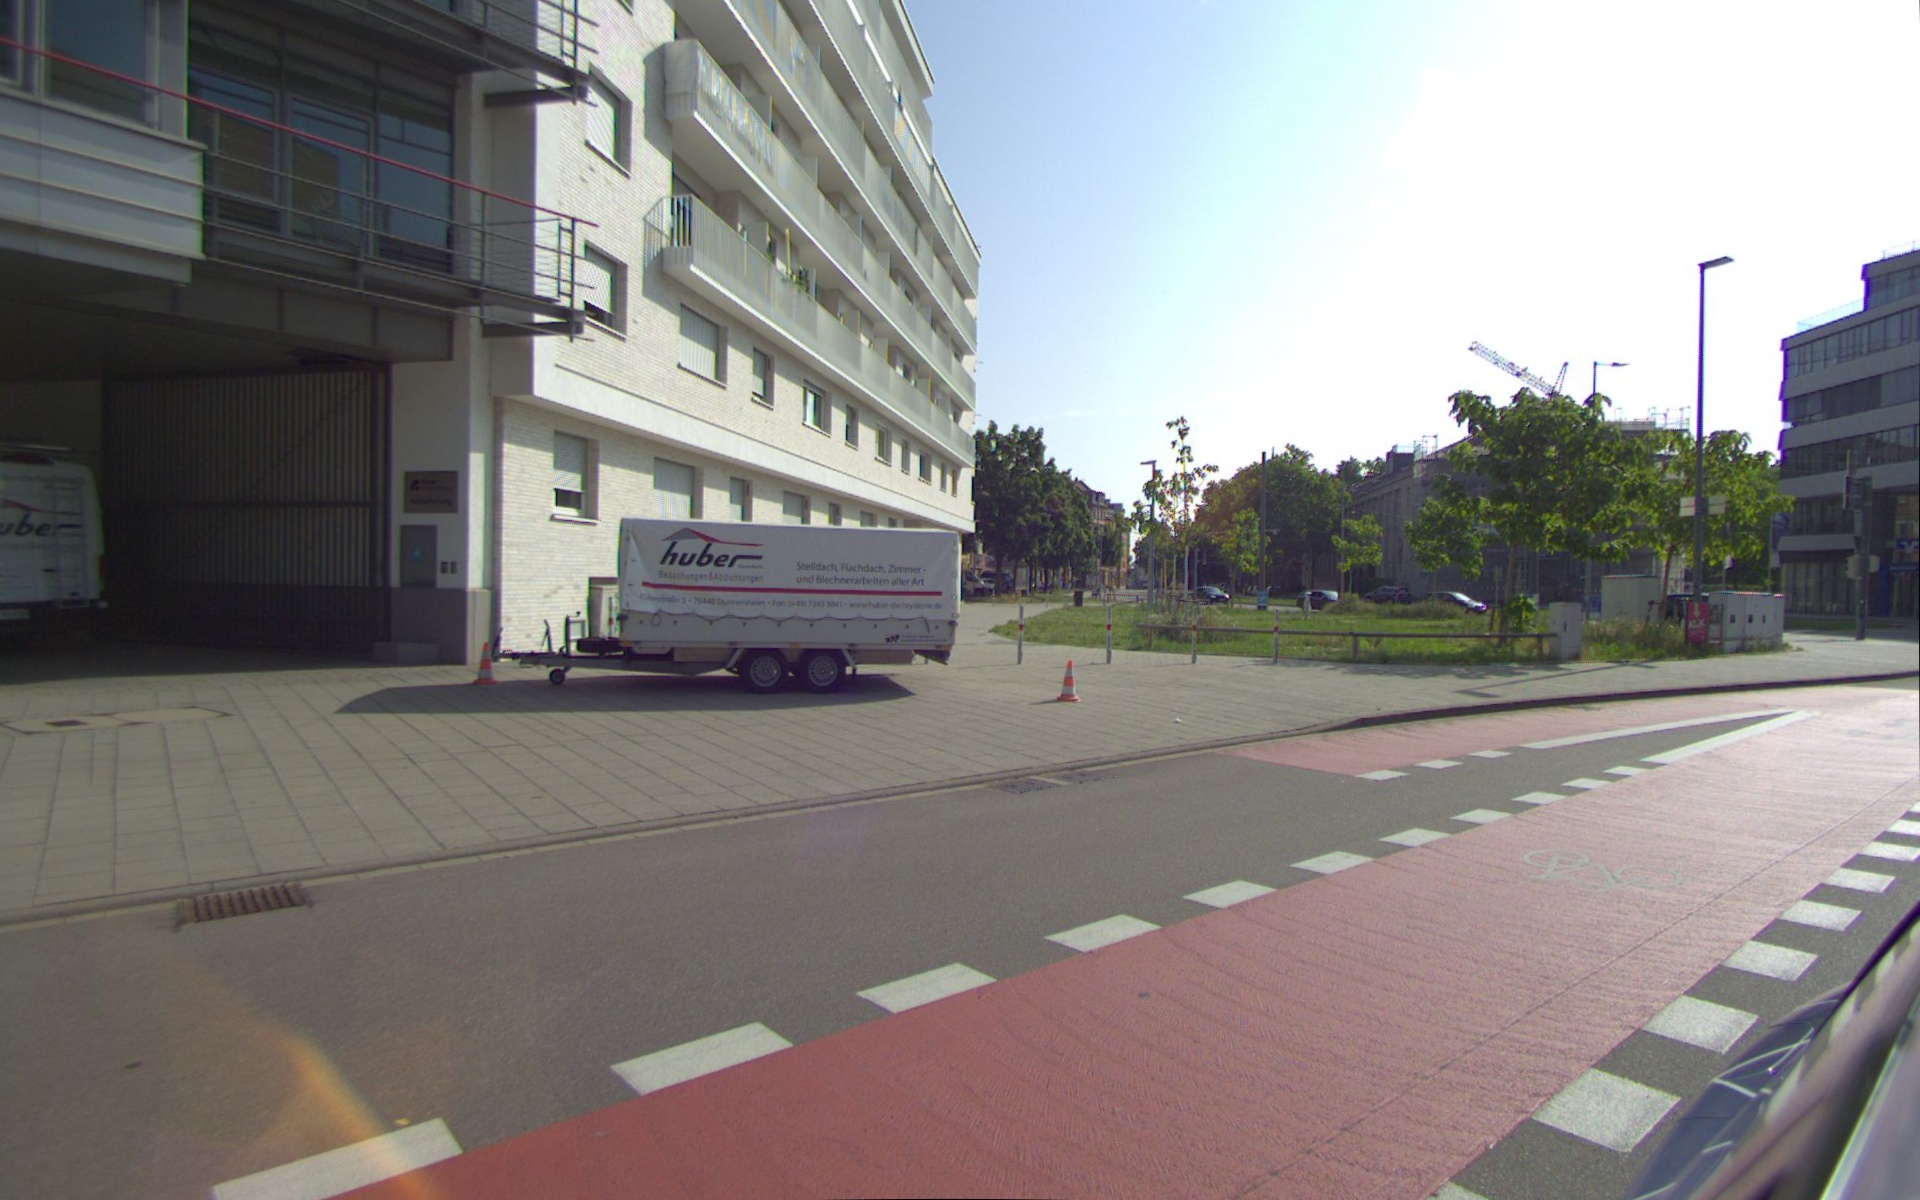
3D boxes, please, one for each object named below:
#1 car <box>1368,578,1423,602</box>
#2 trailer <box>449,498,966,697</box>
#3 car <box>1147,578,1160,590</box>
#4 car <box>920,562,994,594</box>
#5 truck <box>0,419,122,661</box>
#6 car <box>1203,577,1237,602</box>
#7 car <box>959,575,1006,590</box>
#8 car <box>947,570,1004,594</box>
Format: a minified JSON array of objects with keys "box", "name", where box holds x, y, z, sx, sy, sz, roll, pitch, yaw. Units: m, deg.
[{"box":[36.069,-0.849,83.966,1.915,1.805,4.824,-1,2,-8],"name":"car"},{"box":[-3.076,-0.026,12.980,5.824,2.178,2.402,1,1,-15],"name":"trailer"},{"box":[35.250,-2.974,184.414,1.966,2.003,3.993,0,2,7],"name":"car"},{"box":[-0.240,-1.563,72.716,4.940,2.205,1.884,0,1,-18],"name":"car"},{"box":[-15.266,-1.024,14.362,6.062,3.134,1.992,4,3,14],"name":"truck"},{"box":[21.902,-0.935,85.346,1.963,2.039,3.998,1,1,3],"name":"car"},{"box":[2.031,-1.573,90.310,3.776,1.265,1.725,0,1,-25],"name":"car"},{"box":[1.175,-1.342,76.180,3.902,1.728,1.884,0,1,-25],"name":"car"}]
